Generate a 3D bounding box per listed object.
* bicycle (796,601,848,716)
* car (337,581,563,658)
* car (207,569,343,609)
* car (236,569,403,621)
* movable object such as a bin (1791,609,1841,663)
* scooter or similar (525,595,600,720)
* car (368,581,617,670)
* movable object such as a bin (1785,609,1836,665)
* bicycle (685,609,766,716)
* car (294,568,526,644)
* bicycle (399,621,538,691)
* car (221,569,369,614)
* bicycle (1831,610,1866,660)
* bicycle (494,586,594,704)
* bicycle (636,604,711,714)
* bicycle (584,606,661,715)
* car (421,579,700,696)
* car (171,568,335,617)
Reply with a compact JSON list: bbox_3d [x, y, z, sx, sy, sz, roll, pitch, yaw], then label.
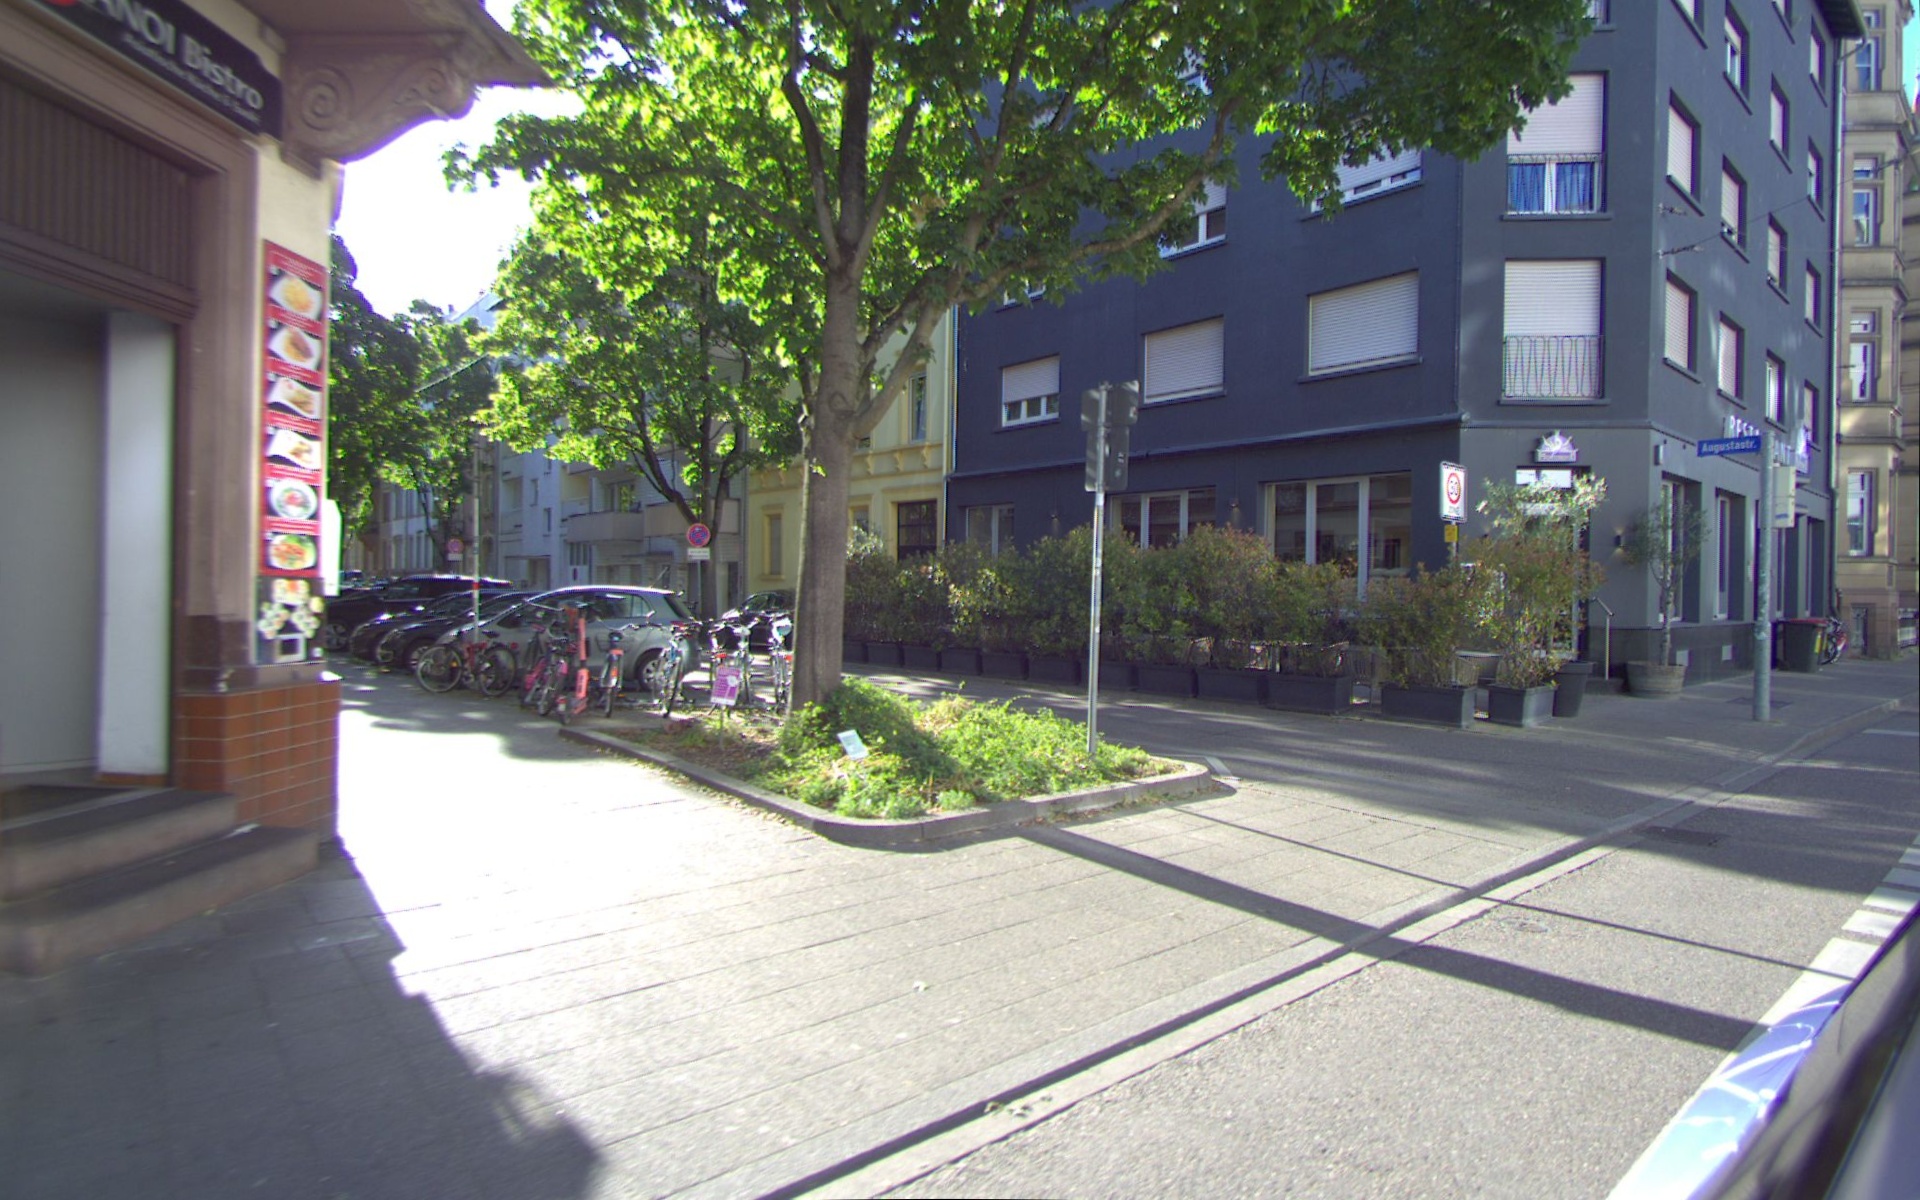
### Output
[{"bbox_3d":[-1.604,0.610,11.580,0.526,1.163,1.911,0,1,-9],"label":"bicycle"},{"bbox_3d":[-9.602,0.345,19.337,3.581,1.379,1.650,0,0,-14],"label":"car"},{"bbox_3d":[-29.430,-0.478,43.619,4.538,1.693,1.650,0,1,-14],"label":"car"},{"bbox_3d":[-21.758,-0.190,34.544,4.538,1.693,1.650,0,1,-14],"label":"car"},{"bbox_3d":[17.700,0.734,20.921,0.626,1.082,0.716,0,0,-41],"label":"movable object such as a bin"},{"bbox_3d":[-4.072,0.555,10.416,0.416,1.198,1.213,0,0,-7],"label":"scooter or similar"},{"bbox_3d":[-7.731,0.383,17.070,3.581,1.378,1.650,0,1,-14],"label":"car"},{"bbox_3d":[17.142,0.730,20.403,0.626,1.082,0.716,0,0,-41],"label":"movable object such as a bin"},{"bbox_3d":[-2.612,0.657,11.439,0.527,1.057,1.909,0,1,-2],"label":"bicycle"},{"bbox_3d":[-12.756,0.112,23.766,4.538,1.693,1.650,0,1,-14],"label":"car"},{"bbox_3d":[-6.305,0.705,12.978,1.733,0.810,0.534,1,1,19],"label":"bicycle"},{"bbox_3d":[-25.808,-0.331,39.421,4.538,1.693,1.650,0,1,-14],"label":"car"},{"bbox_3d":[19.961,0.763,22.730,1.486,1.072,0.377,0,0,-41],"label":"bicycle"},{"bbox_3d":[-4.936,0.483,12.141,0.568,1.281,2.062,0,1,-7],"label":"bicycle"},{"bbox_3d":[-3.211,0.616,11.469,0.526,1.094,1.910,0,1,-7],"label":"bicycle"},{"bbox_3d":[-3.714,0.624,11.240,0.433,1.057,1.910,0,1,-7],"label":"bicycle"},{"bbox_3d":[-5.616,0.478,14.663,3.581,1.549,1.650,0,1,-14],"label":"car"},{"bbox_3d":[-25.190,-0.267,36.217,4.538,1.693,1.650,0,1,-14],"label":"car"}]
